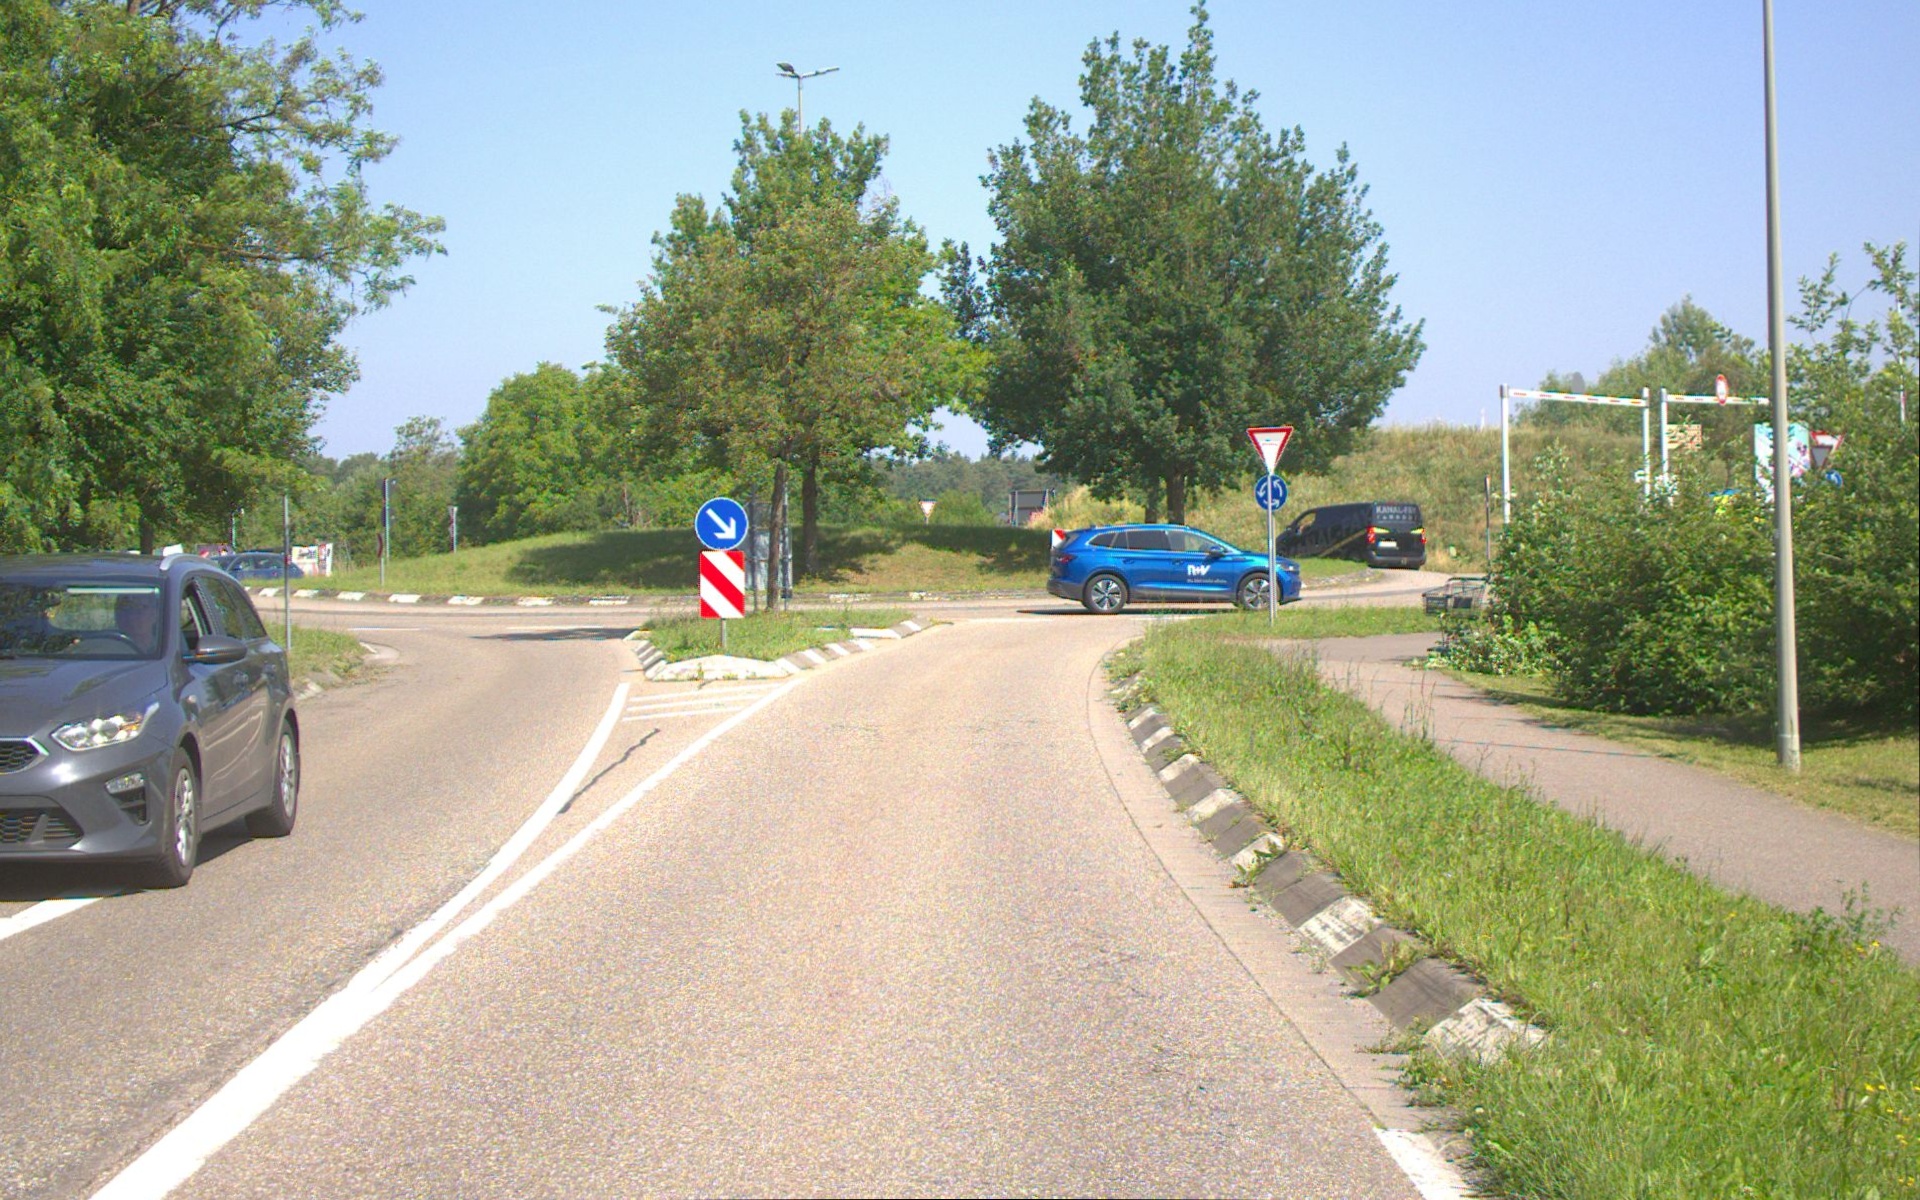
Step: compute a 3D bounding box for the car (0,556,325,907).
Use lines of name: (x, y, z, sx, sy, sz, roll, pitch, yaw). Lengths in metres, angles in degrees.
car: (-4.183, 0.513, 16.087, 1.698, 1.384, 4.294, -1, 1, -1)

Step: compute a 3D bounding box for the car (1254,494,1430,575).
car: (9.694, -1.663, 87.435, 3.996, 2.007, 1.995, 0, 1, 40)

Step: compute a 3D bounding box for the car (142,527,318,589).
car: (-18.218, -1.070, 85.973, 1.835, 1.382, 4.417, -1, 2, 28)

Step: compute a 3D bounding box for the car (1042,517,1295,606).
car: (3.757, -0.709, 62.448, 4.413, 1.566, 1.716, 0, 1, -2)

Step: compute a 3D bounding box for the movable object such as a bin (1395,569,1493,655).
movable object such as a bin: (6.514, 0.151, 46.241, 0.869, 1.116, 1.453, 0, 1, 28)
